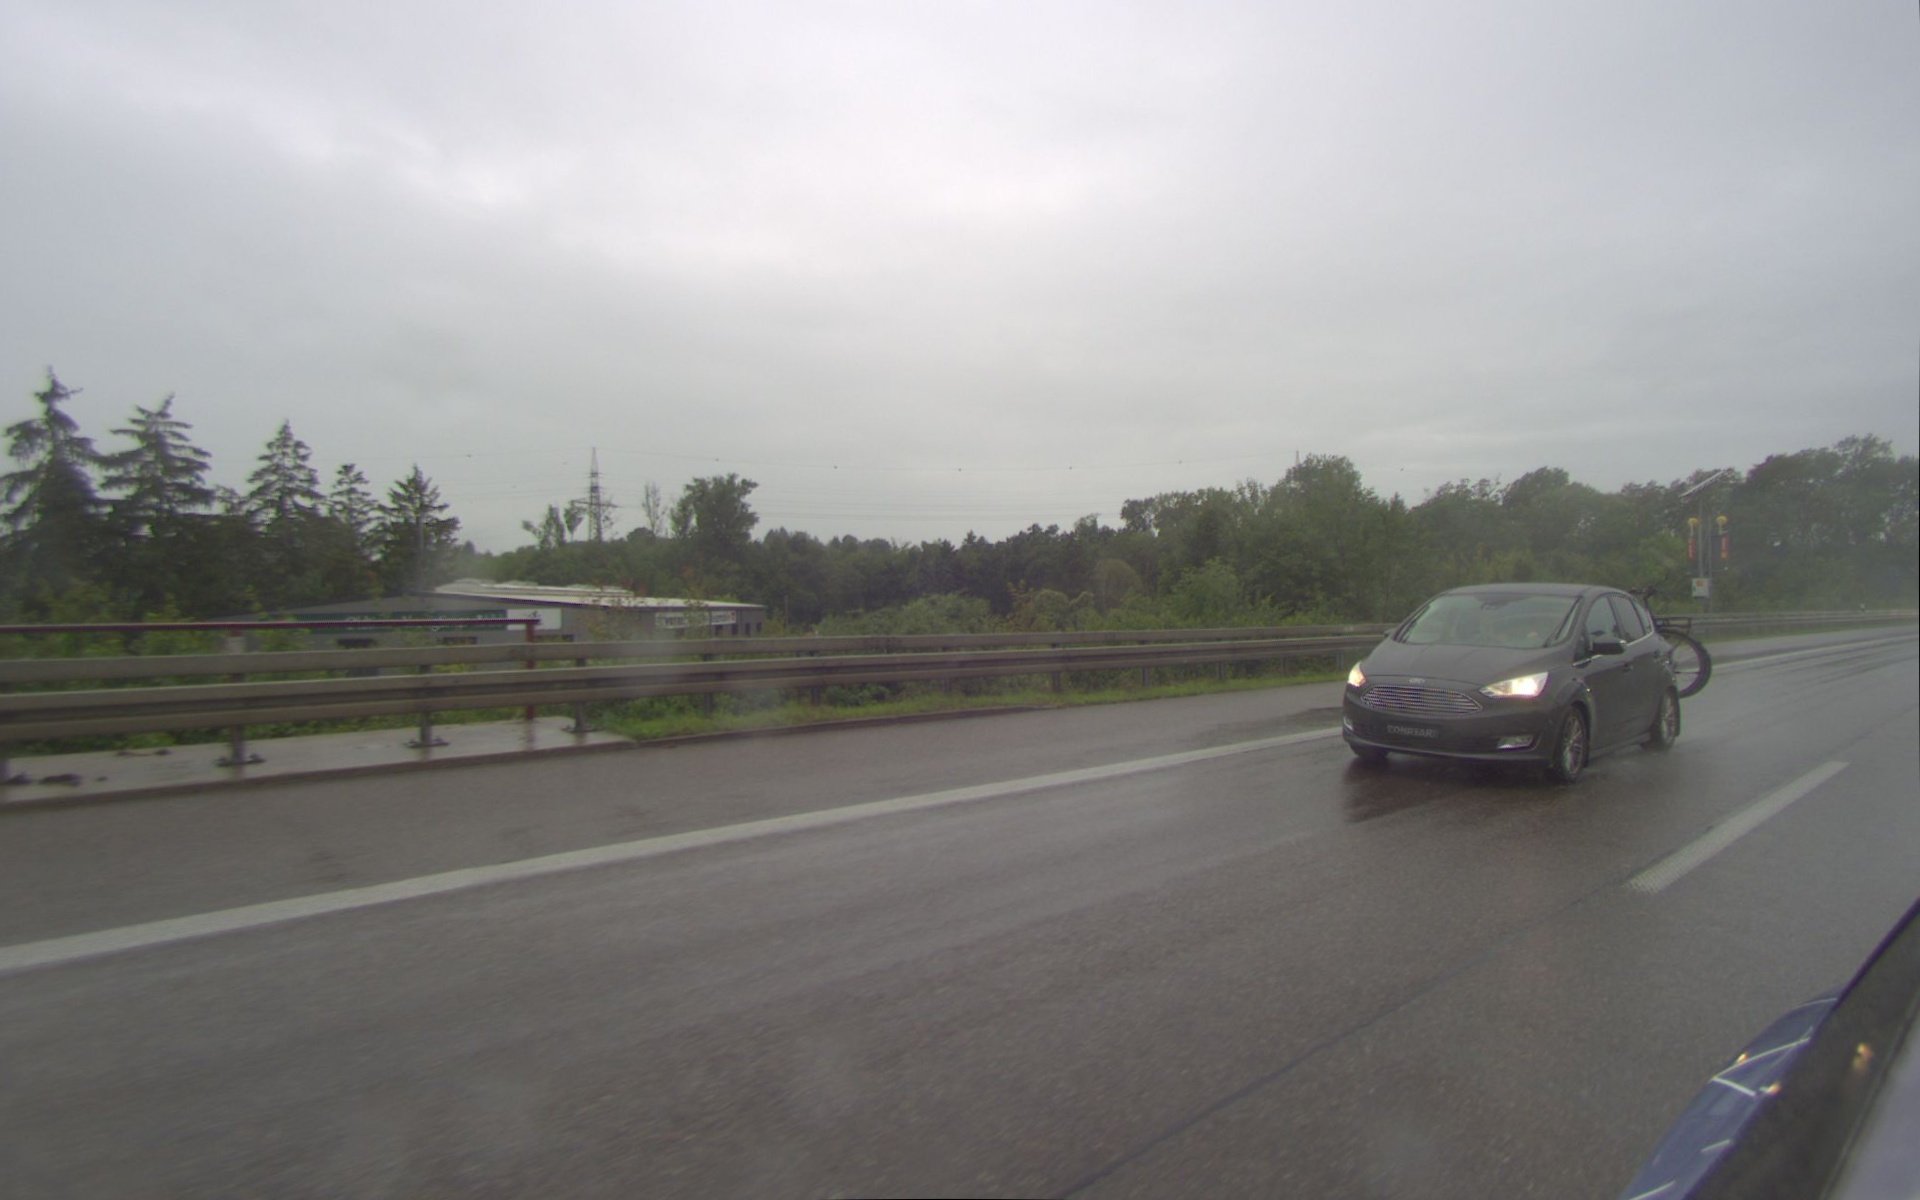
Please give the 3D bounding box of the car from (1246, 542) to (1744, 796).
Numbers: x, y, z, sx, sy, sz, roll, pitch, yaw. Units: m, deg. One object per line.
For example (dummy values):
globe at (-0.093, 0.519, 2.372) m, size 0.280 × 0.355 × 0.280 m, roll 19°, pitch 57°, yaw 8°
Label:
car at (5.425, 0.462, 9.832) m, size 5.619 × 1.768 × 2.461 m, roll 0°, pitch 0°, yaw -41°
